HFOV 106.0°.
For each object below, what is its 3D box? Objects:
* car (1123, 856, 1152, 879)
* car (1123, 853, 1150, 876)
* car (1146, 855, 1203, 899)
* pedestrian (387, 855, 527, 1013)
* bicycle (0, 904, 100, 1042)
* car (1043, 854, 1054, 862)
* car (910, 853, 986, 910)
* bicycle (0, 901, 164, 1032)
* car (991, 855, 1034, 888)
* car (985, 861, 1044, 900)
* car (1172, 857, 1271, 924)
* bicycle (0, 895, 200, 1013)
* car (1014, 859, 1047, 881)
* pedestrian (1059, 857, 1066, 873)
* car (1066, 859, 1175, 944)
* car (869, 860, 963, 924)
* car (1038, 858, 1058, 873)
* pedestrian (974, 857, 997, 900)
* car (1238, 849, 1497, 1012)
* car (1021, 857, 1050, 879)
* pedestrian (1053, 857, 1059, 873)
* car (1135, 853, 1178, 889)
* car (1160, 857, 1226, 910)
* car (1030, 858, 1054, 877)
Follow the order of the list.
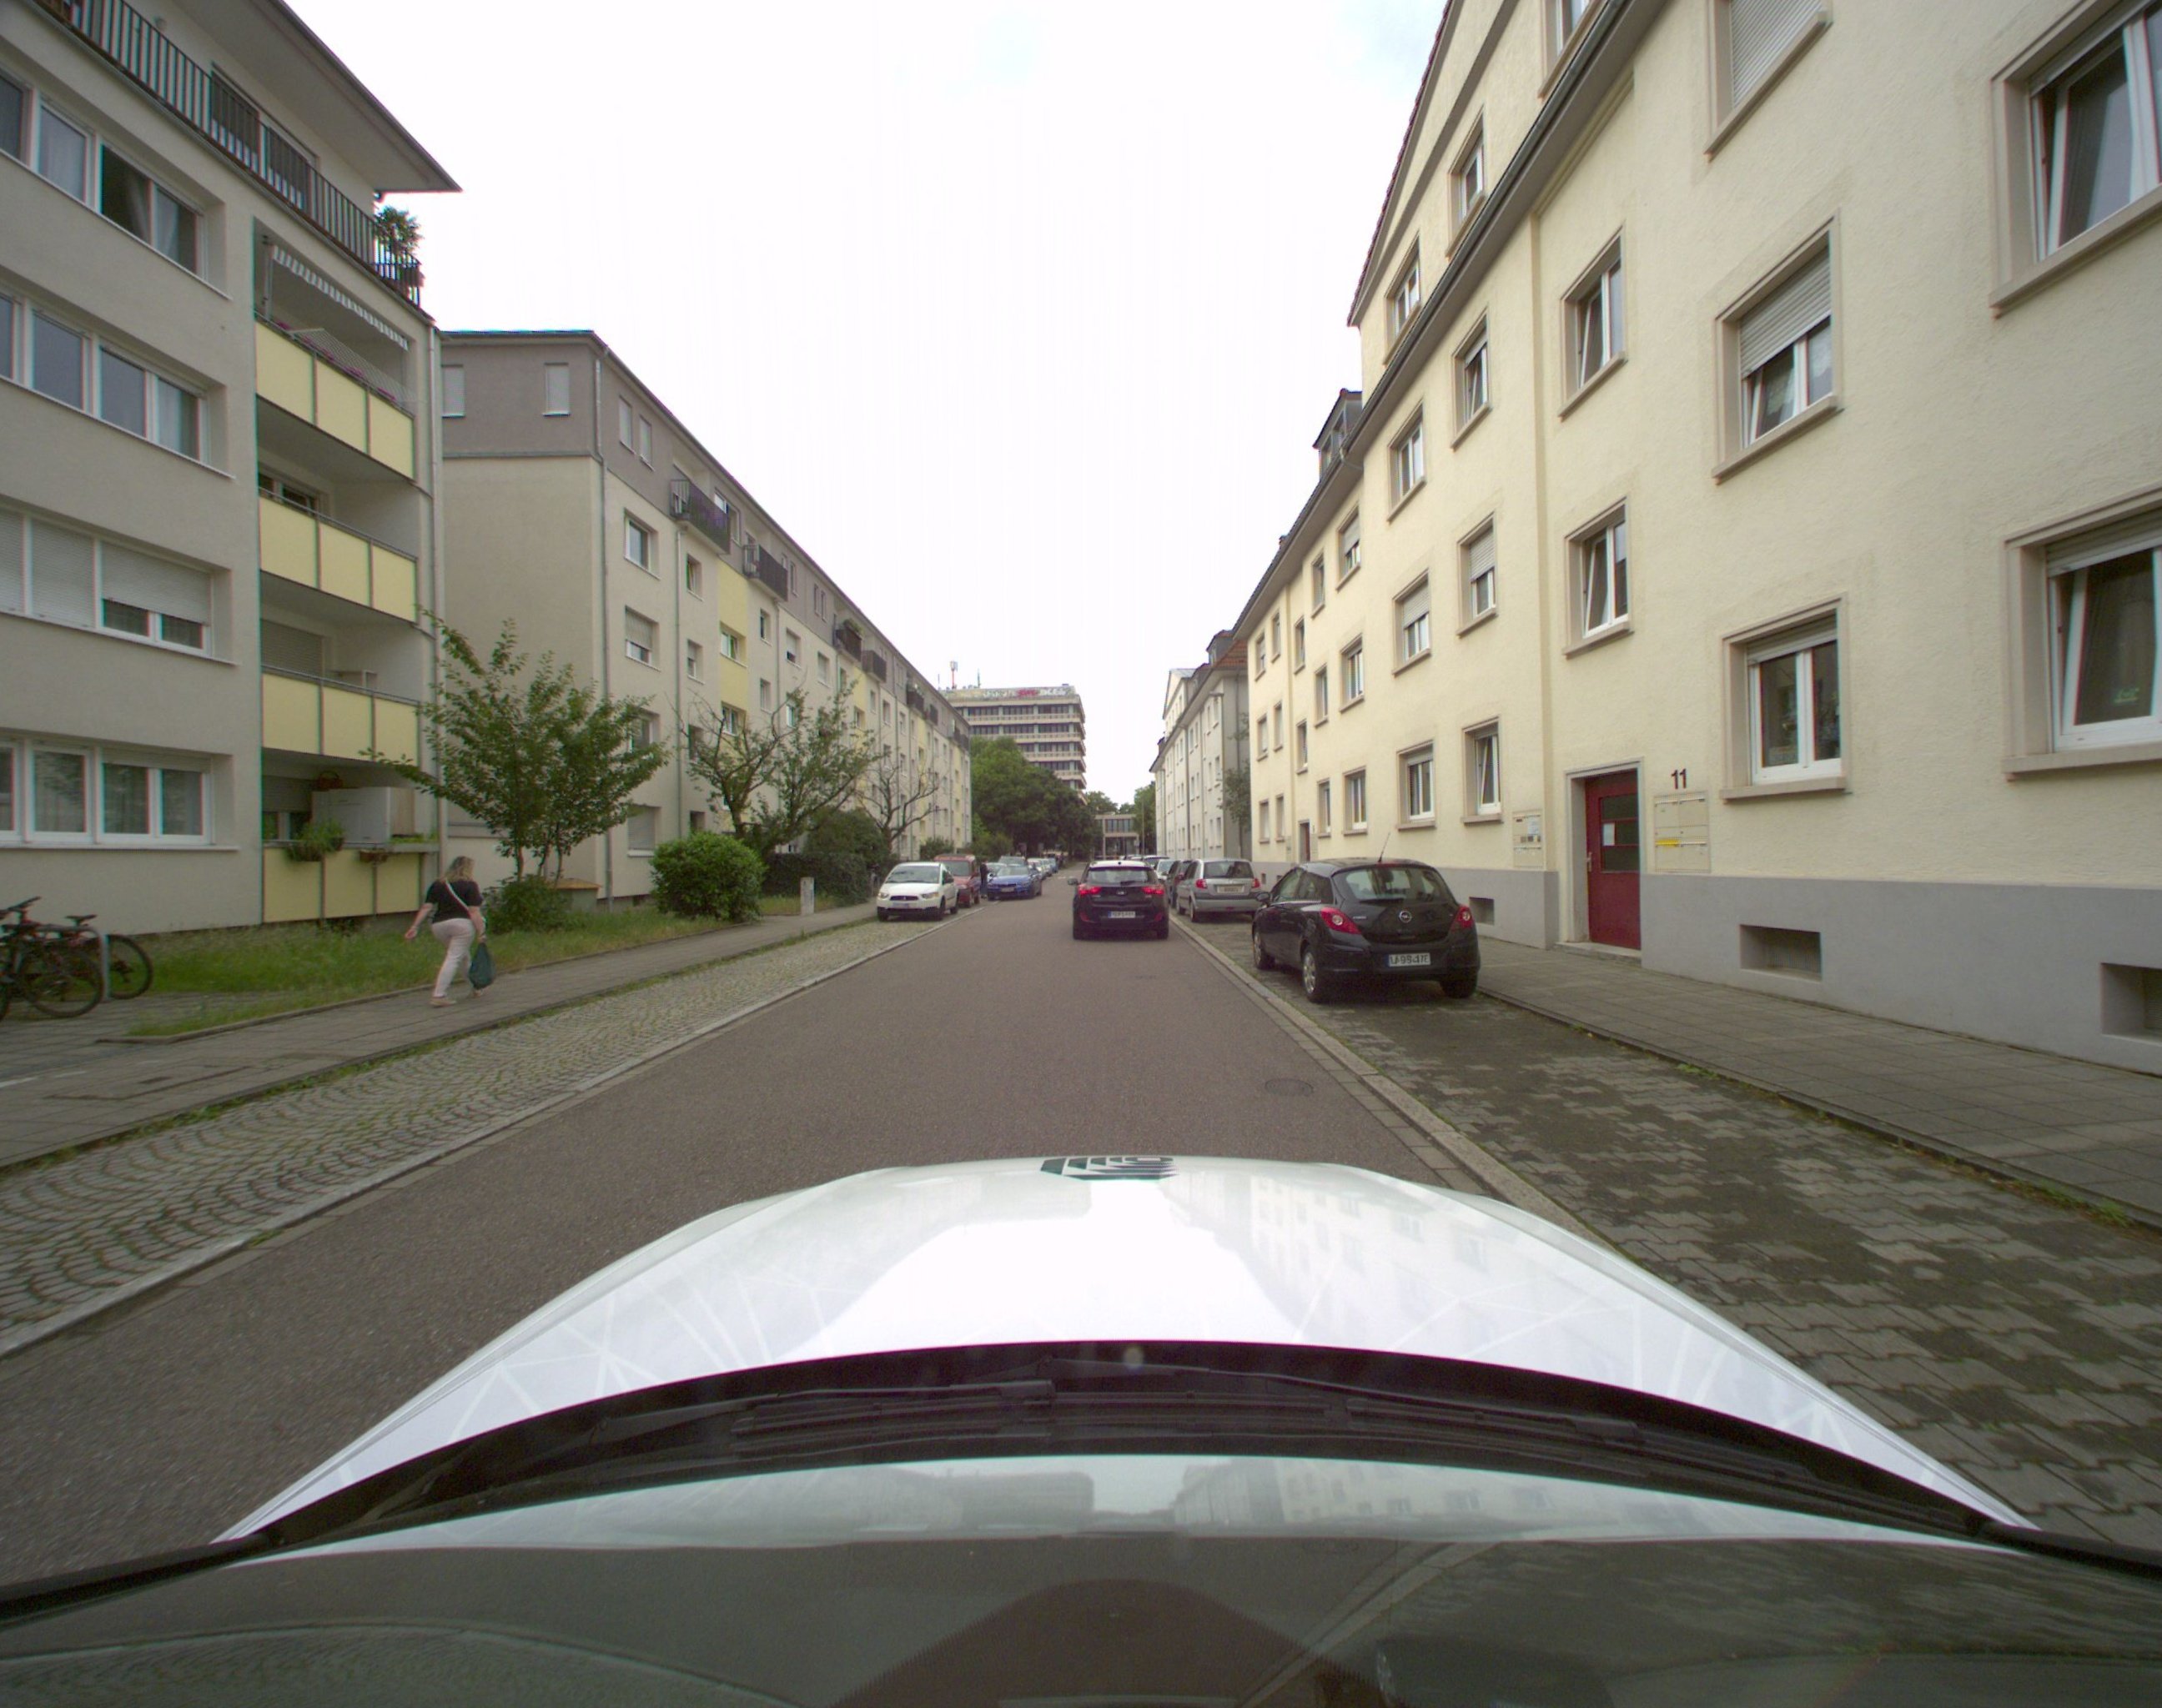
[{"bbox_3d":[3.848,0.914,55.658,1.813,1.503,4.093,-1,0,2],"label":"car"},{"bbox_3d":[4.100,0.778,60.589,1.813,1.603,4.093,-2,0,2],"label":"car"},{"bbox_3d":[3.423,0.799,30.446,1.719,1.476,4.506,-1,0,1],"label":"car"},{"bbox_3d":[-6.788,0.827,8.912,0.798,1.610,0.946,-1,0,-4],"label":"pedestrian"},{"bbox_3d":[-10.102,1.057,7.119,2.022,1.141,0.621,-1,0,-9],"label":"bicycle"},{"bbox_3d":[-5.663,0.718,141.850,1.660,1.333,3.396,-1,0,1],"label":"car"},{"bbox_3d":[-4.493,0.879,28.121,1.951,1.770,4.359,-1,0,-1],"label":"car"},{"bbox_3d":[-10.212,1.072,7.743,2.022,1.141,0.621,-1,0,-9],"label":"bicycle"},{"bbox_3d":[-3.766,0.921,45.324,1.888,1.740,4.475,1,0,1],"label":"car"},{"bbox_3d":[-2.636,1.033,33.325,1.838,1.451,4.503,-1,0,2],"label":"car"},{"bbox_3d":[3.341,0.812,20.059,1.842,1.450,3.833,-1,0,1],"label":"car"},{"bbox_3d":[-10.721,1.042,8.620,2.018,1.141,0.622,-1,0,-3],"label":"bicycle"},{"bbox_3d":[-3.460,1.066,56.840,1.888,1.452,4.522,1,0,1],"label":"car"},{"bbox_3d":[-2.190,1.262,95.074,0.711,1.831,0.798,-1,0,3],"label":"pedestrian"},{"bbox_3d":[0.768,0.854,16.542,1.896,1.433,4.234,-2,0,2],"label":"car"},{"bbox_3d":[-4.400,0.962,22.282,1.714,1.570,3.871,0,0,1],"label":"car"},{"bbox_3d":[-3.359,1.174,83.594,1.988,1.541,3.998,-1,0,-1],"label":"car"},{"bbox_3d":[-3.915,1.011,33.384,0.742,1.701,0.791,-2,-1,-17],"label":"pedestrian"},{"bbox_3d":[3.142,0.737,9.857,1.719,1.517,4.061,-2,0,1],"label":"car"},{"bbox_3d":[-3.486,1.031,62.965,1.888,1.599,4.522,1,0,1],"label":"car"},{"bbox_3d":[-2.939,1.258,95.284,0.602,1.831,0.676,-1,0,3],"label":"pedestrian"},{"bbox_3d":[3.593,0.769,39.406,1.813,1.642,4.093,-1,0,2],"label":"car"},{"bbox_3d":[3.429,0.859,25.405,1.597,1.476,3.870,-1,0,1],"label":"car"},{"bbox_3d":[-3.412,1.165,71.274,1.988,1.541,3.998,-1,0,-1],"label":"car"}]
